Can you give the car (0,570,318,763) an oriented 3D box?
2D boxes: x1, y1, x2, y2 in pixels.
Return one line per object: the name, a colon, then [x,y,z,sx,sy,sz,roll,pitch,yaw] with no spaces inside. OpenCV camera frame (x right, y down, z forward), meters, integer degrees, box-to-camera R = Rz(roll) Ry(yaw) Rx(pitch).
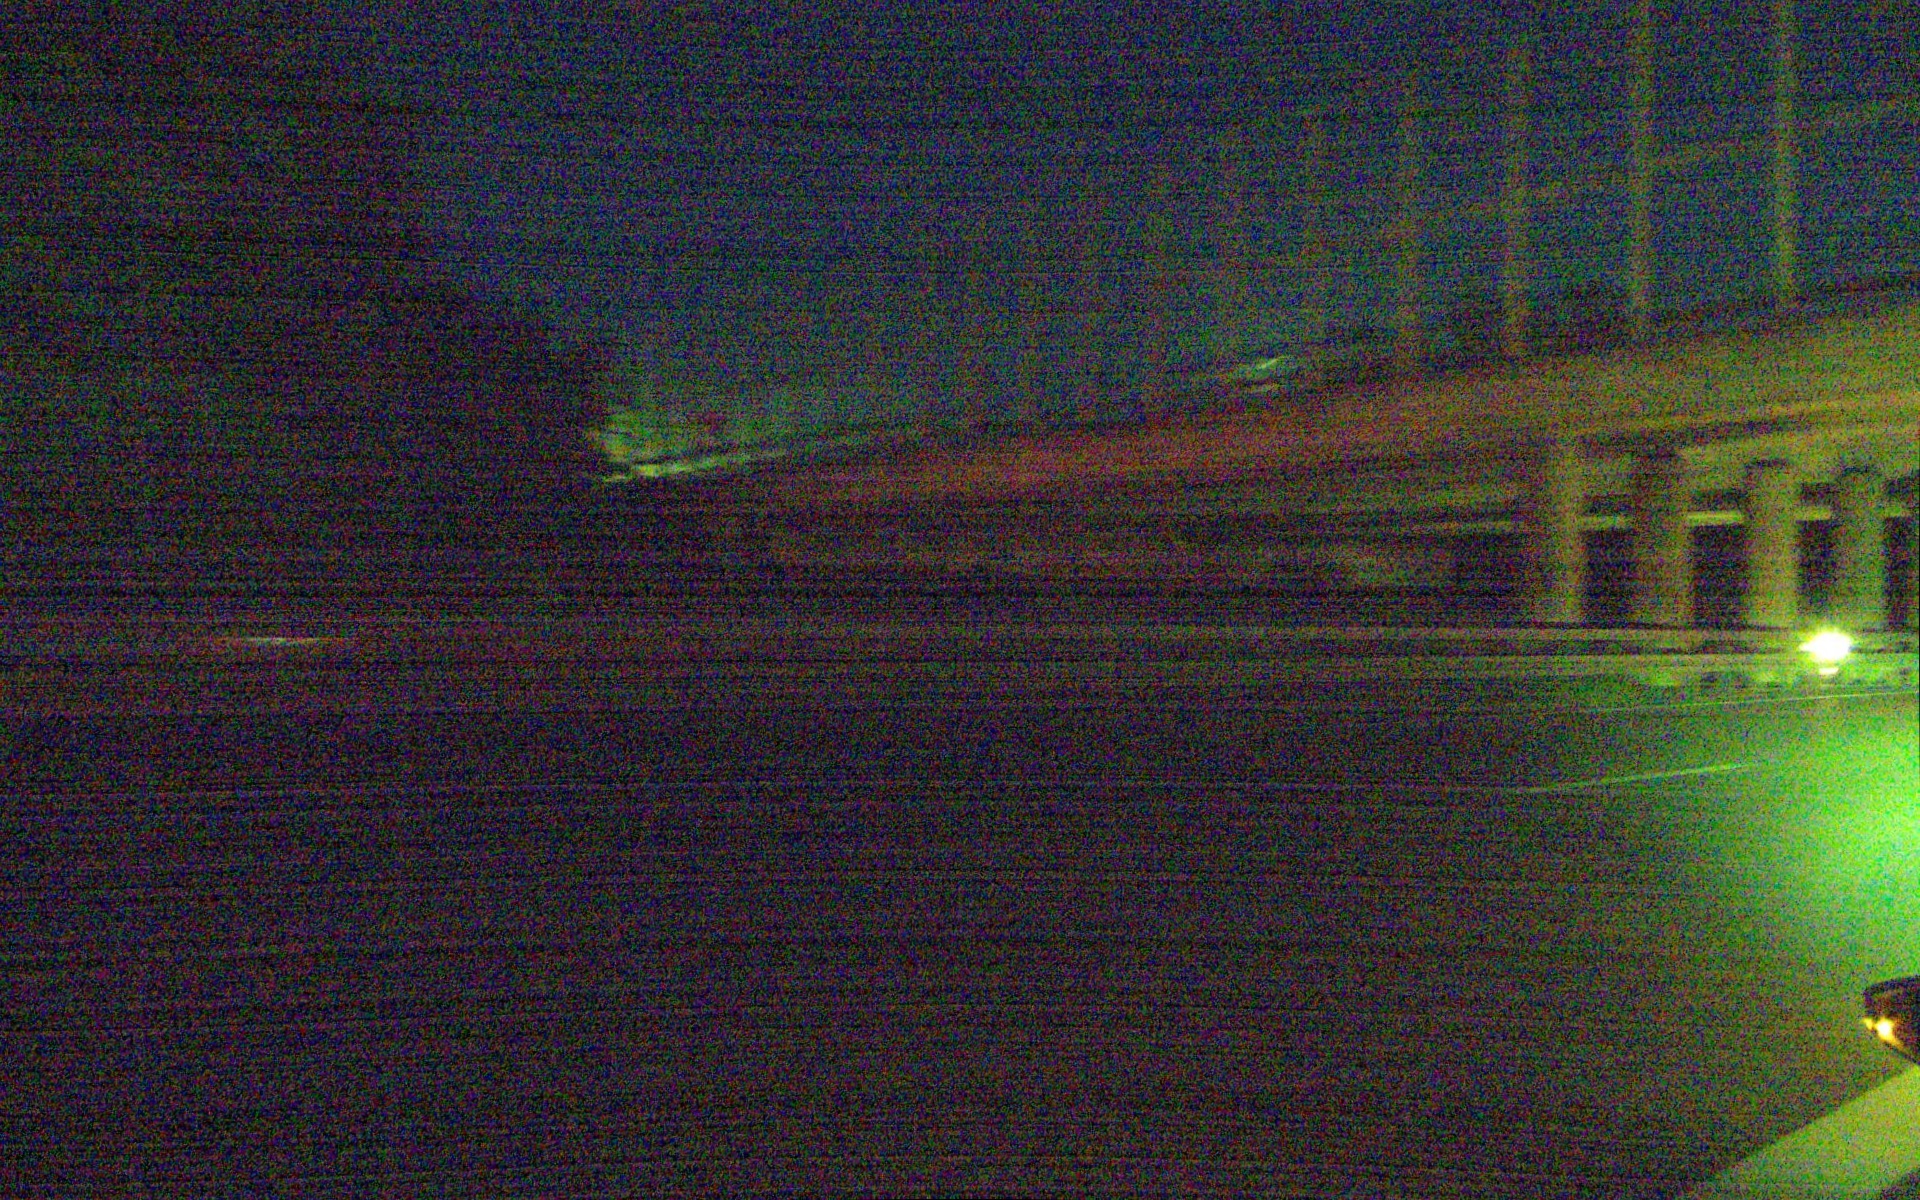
car: [-10.275,0.707,11.694,4.555,2.040,1.984,2,0,-30]
